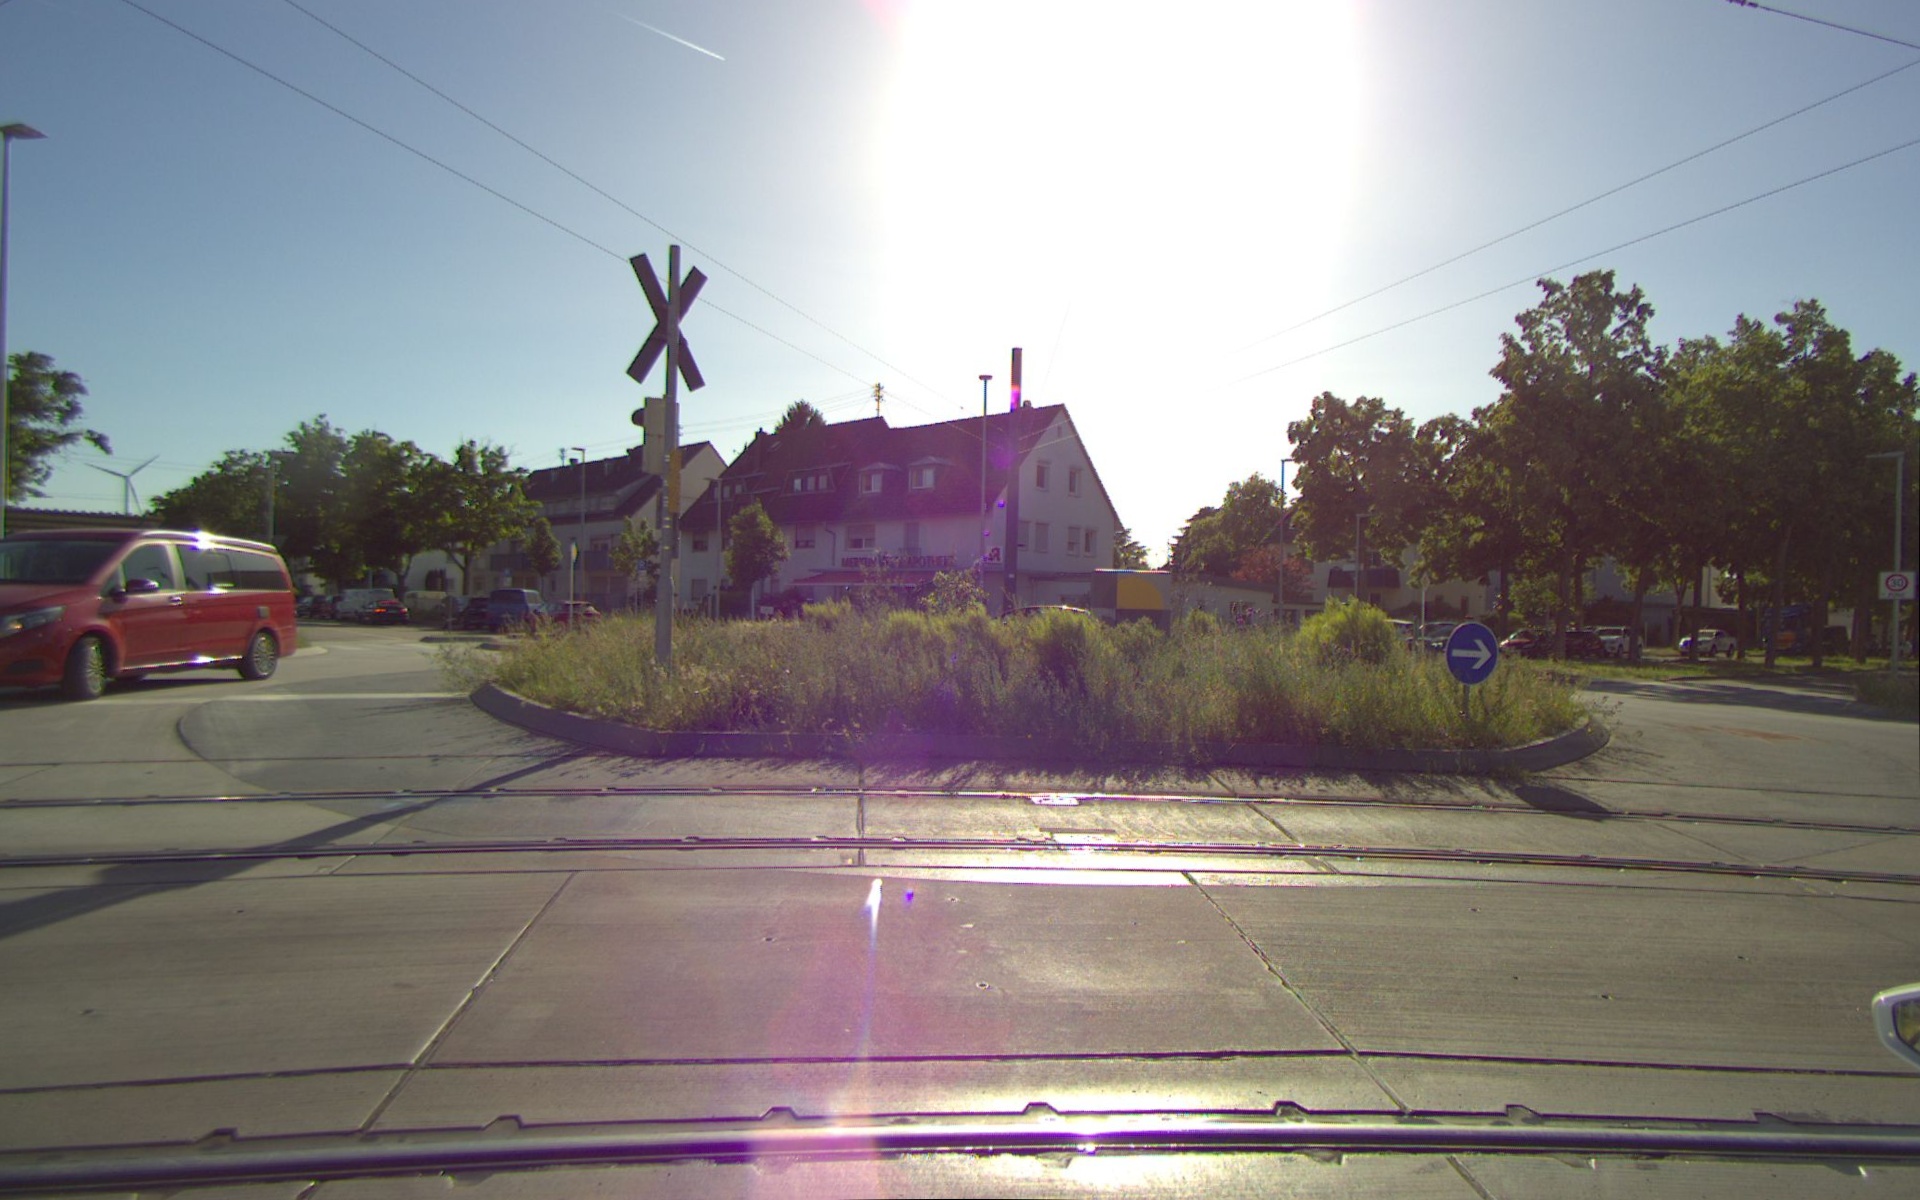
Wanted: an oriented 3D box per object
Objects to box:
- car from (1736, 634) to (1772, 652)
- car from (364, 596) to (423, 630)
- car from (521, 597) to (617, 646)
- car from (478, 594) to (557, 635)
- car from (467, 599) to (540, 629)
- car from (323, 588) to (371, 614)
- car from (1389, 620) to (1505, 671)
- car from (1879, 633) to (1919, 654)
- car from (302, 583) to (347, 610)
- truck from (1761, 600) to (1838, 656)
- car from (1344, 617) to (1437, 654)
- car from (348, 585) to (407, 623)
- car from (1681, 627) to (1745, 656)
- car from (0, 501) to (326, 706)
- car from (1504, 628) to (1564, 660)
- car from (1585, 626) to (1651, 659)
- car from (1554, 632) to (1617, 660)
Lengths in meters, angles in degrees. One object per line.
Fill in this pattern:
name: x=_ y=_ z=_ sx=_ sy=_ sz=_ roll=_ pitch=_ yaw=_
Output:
car: x=79.205 y=4.263 z=100.138 sx=4.183 sy=1.722 sz=1.977 roll=2 pitch=0 yaw=-40
car: x=-31.723 y=0.726 z=56.185 sx=1.911 sy=1.637 sz=4.230 roll=2 pitch=1 yaw=-43
car: x=-16.118 y=0.840 z=41.260 sx=4.309 sy=1.721 sz=1.989 roll=4 pitch=1 yaw=43
car: x=-19.777 y=0.648 z=44.973 sx=3.029 sy=1.641 sz=1.405 roll=3 pitch=1 yaw=-17
car: x=-22.093 y=0.674 z=48.718 sx=3.117 sy=1.315 sz=1.376 roll=3 pitch=1 yaw=-22
car: x=-39.424 y=0.064 z=64.555 sx=4.018 sy=1.613 sz=1.537 roll=1 pitch=0 yaw=43
car: x=17.327 y=1.608 z=35.665 sx=4.399 sy=1.602 sz=1.817 roll=2 pitch=1 yaw=-37
car: x=83.031 y=3.854 z=88.567 sx=4.176 sy=1.722 sz=1.980 roll=2 pitch=1 yaw=-35
car: x=-42.931 y=-0.236 z=67.830 sx=4.160 sy=1.699 sz=1.543 roll=1 pitch=0 yaw=43
truck: x=65.221 y=2.183 z=77.950 sx=7.942 sy=4.046 sz=3.044 roll=2 pitch=1 yaw=-40
car: x=22.776 y=1.854 z=53.230 sx=1.982 sy=1.717 sz=4.007 roll=2 pitch=1 yaw=-37
car: x=-35.512 y=0.244 z=61.202 sx=4.309 sy=2.041 sz=1.886 roll=4 pitch=1 yaw=43
car: x=50.693 y=2.800 z=67.568 sx=5.011 sy=1.796 sz=1.980 roll=2 pitch=1 yaw=-36
car: x=-10.303 y=-0.032 z=12.386 sx=1.962 sy=2.008 sz=5.234 roll=2 pitch=1 yaw=-5
car: x=29.243 y=2.226 z=51.159 sx=1.780 sy=1.484 sz=3.780 roll=4 pitch=1 yaw=43
car: x=37.878 y=2.424 z=57.799 sx=4.184 sy=1.722 sz=1.977 roll=2 pitch=1 yaw=-40
car: x=34.165 y=2.478 z=54.798 sx=3.973 sy=1.341 sz=1.942 roll=2 pitch=1 yaw=-44
